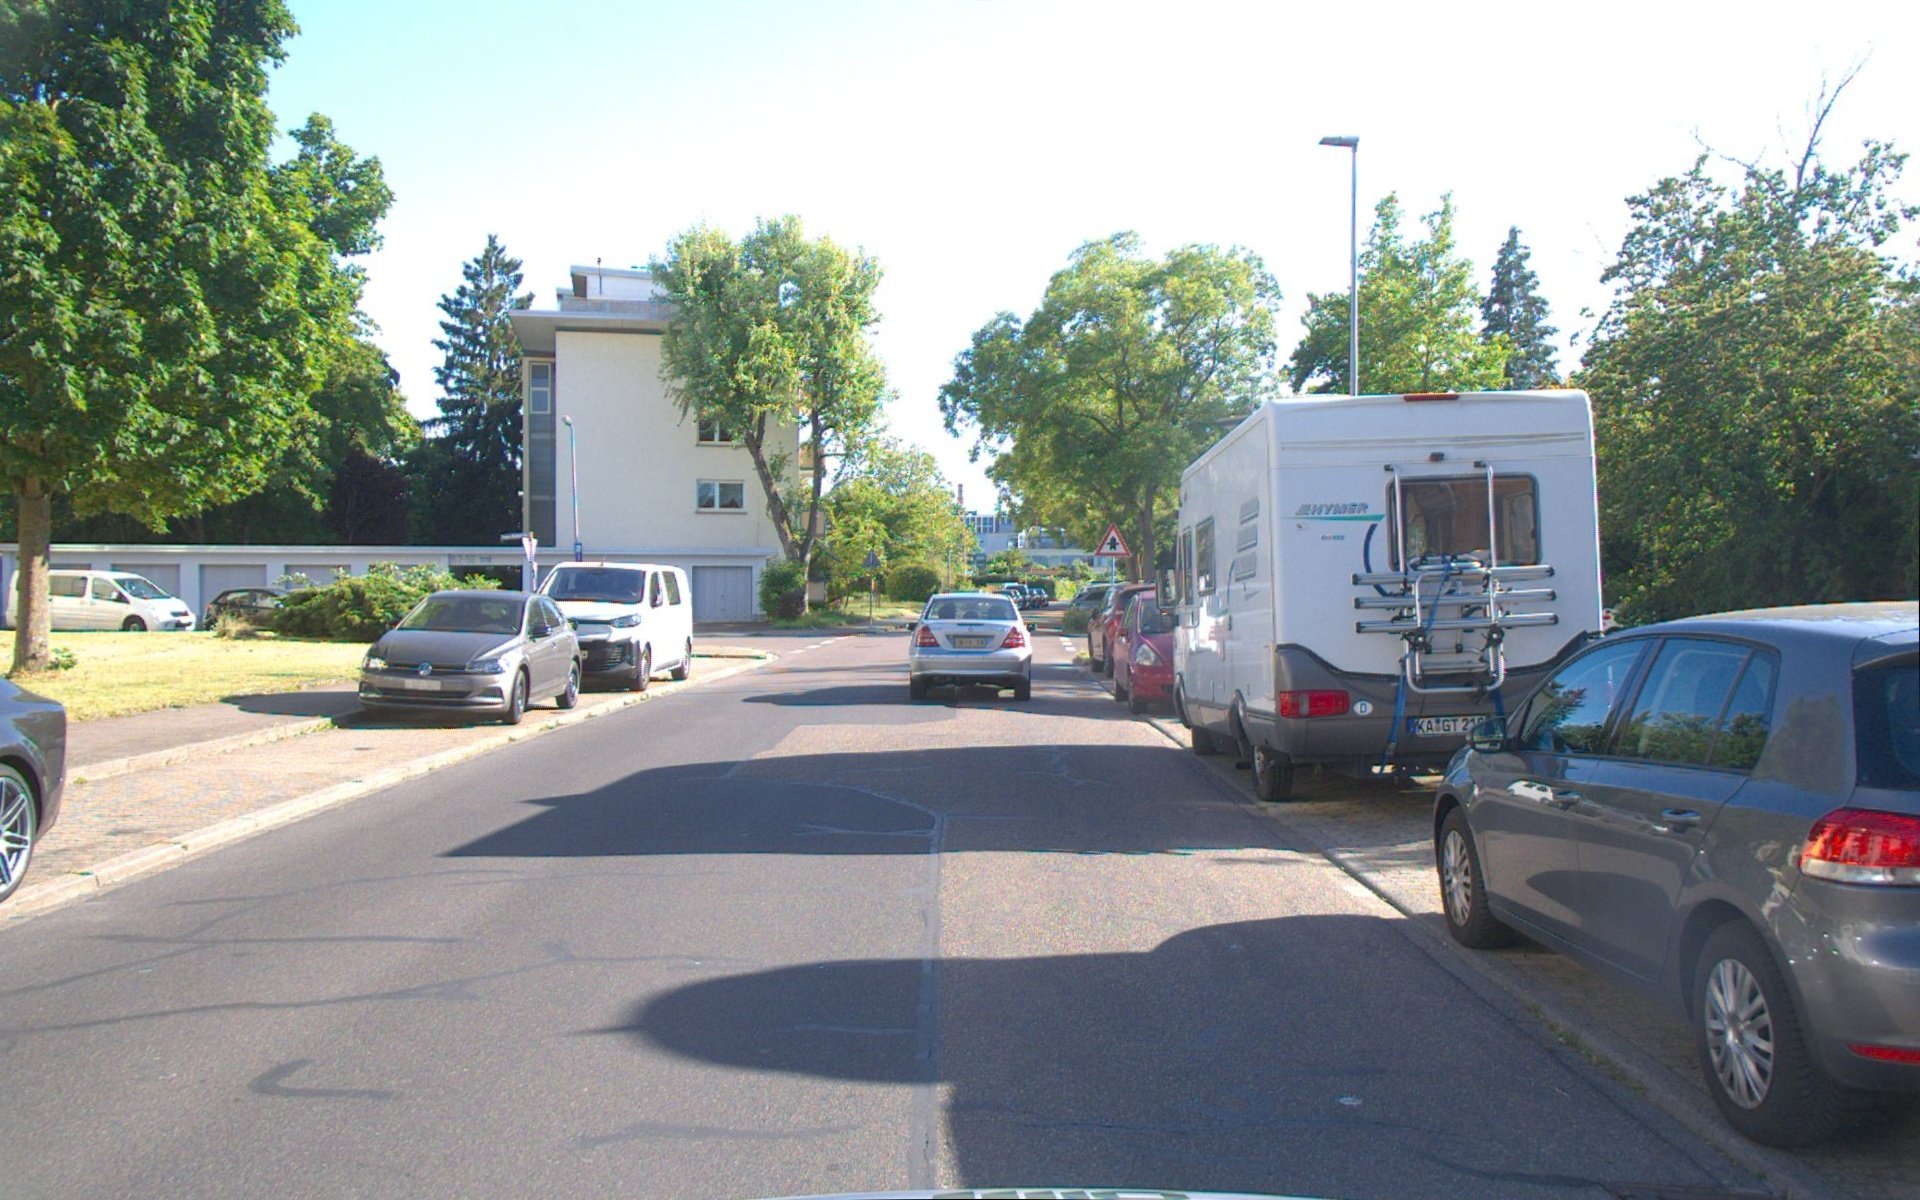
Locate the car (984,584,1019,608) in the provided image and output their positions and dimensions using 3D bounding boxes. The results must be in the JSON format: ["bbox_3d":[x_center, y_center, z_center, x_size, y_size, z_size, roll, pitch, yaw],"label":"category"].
[{"bbox_3d":[2.808,-0.298,111.284,1.872,1.516,3.840,-3,0,8],"label":"car"}]

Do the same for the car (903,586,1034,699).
[{"bbox_3d":[0.141,0.554,23.283,1.697,1.459,3.438,0,0,1],"label":"car"}]

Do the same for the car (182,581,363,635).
[{"bbox_3d":[-19.764,0.221,47.621,4.348,1.486,2.045,-1,1,7],"label":"car"}]

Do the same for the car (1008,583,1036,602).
[{"bbox_3d":[4.892,-0.593,129.941,1.713,1.353,3.454,-3,0,10],"label":"car"}]

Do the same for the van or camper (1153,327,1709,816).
[{"bbox_3d":[3.229,-0.229,13.342,2.445,2.894,6.851,-1,1,-1],"label":"van or camper"}]

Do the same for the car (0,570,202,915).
[{"bbox_3d":[-5.313,0.639,6.731,1.993,1.518,5.256,2,1,0],"label":"car"}]

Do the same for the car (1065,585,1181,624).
[{"bbox_3d":[6.683,0.179,68.329,4.682,1.576,2.012,0,1,3],"label":"car"}]

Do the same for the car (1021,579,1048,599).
[{"bbox_3d":[6.170,-0.901,136.297,1.713,1.547,4.197,-1,0,9],"label":"car"}]

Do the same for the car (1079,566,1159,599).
[{"bbox_3d":[10.443,-1.149,108.331,5.106,2.095,2.002,-1,1,7],"label":"car"}]

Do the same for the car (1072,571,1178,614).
[{"bbox_3d":[7.790,-0.365,78.367,4.786,1.957,1.999,-1,1,-2],"label":"car"}]

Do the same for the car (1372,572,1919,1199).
[{"bbox_3d":[3.035,0.717,6.236,1.686,1.551,4.427,-3,1,-2],"label":"car"}]

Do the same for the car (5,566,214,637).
[{"bbox_3d":[-24.770,0.038,48.261,4.996,1.985,2.239,-1,1,8],"label":"car"}]

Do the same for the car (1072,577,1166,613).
[{"bbox_3d":[8.256,-0.281,85.805,4.781,1.753,2.001,-1,1,6],"label":"car"}]

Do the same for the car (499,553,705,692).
[{"bbox_3d":[-5.469,0.297,26.014,1.973,1.918,5.191,1,0,1],"label":"car"}]

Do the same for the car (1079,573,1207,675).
[{"bbox_3d":[3.381,0.395,31.409,1.739,1.709,4.644,-3,1,-1],"label":"car"}]

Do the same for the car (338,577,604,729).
[{"bbox_3d":[-5.600,0.544,19.519,1.795,1.544,4.222,2,0,1],"label":"car"}]

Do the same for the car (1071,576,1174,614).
[{"bbox_3d":[6.946,-0.202,70.795,4.333,1.599,1.739,0,1,5],"label":"car"}]

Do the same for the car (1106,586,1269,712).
[{"bbox_3d":[2.956,0.578,22.199,1.656,1.500,4.000,-1,1,1],"label":"car"}]
